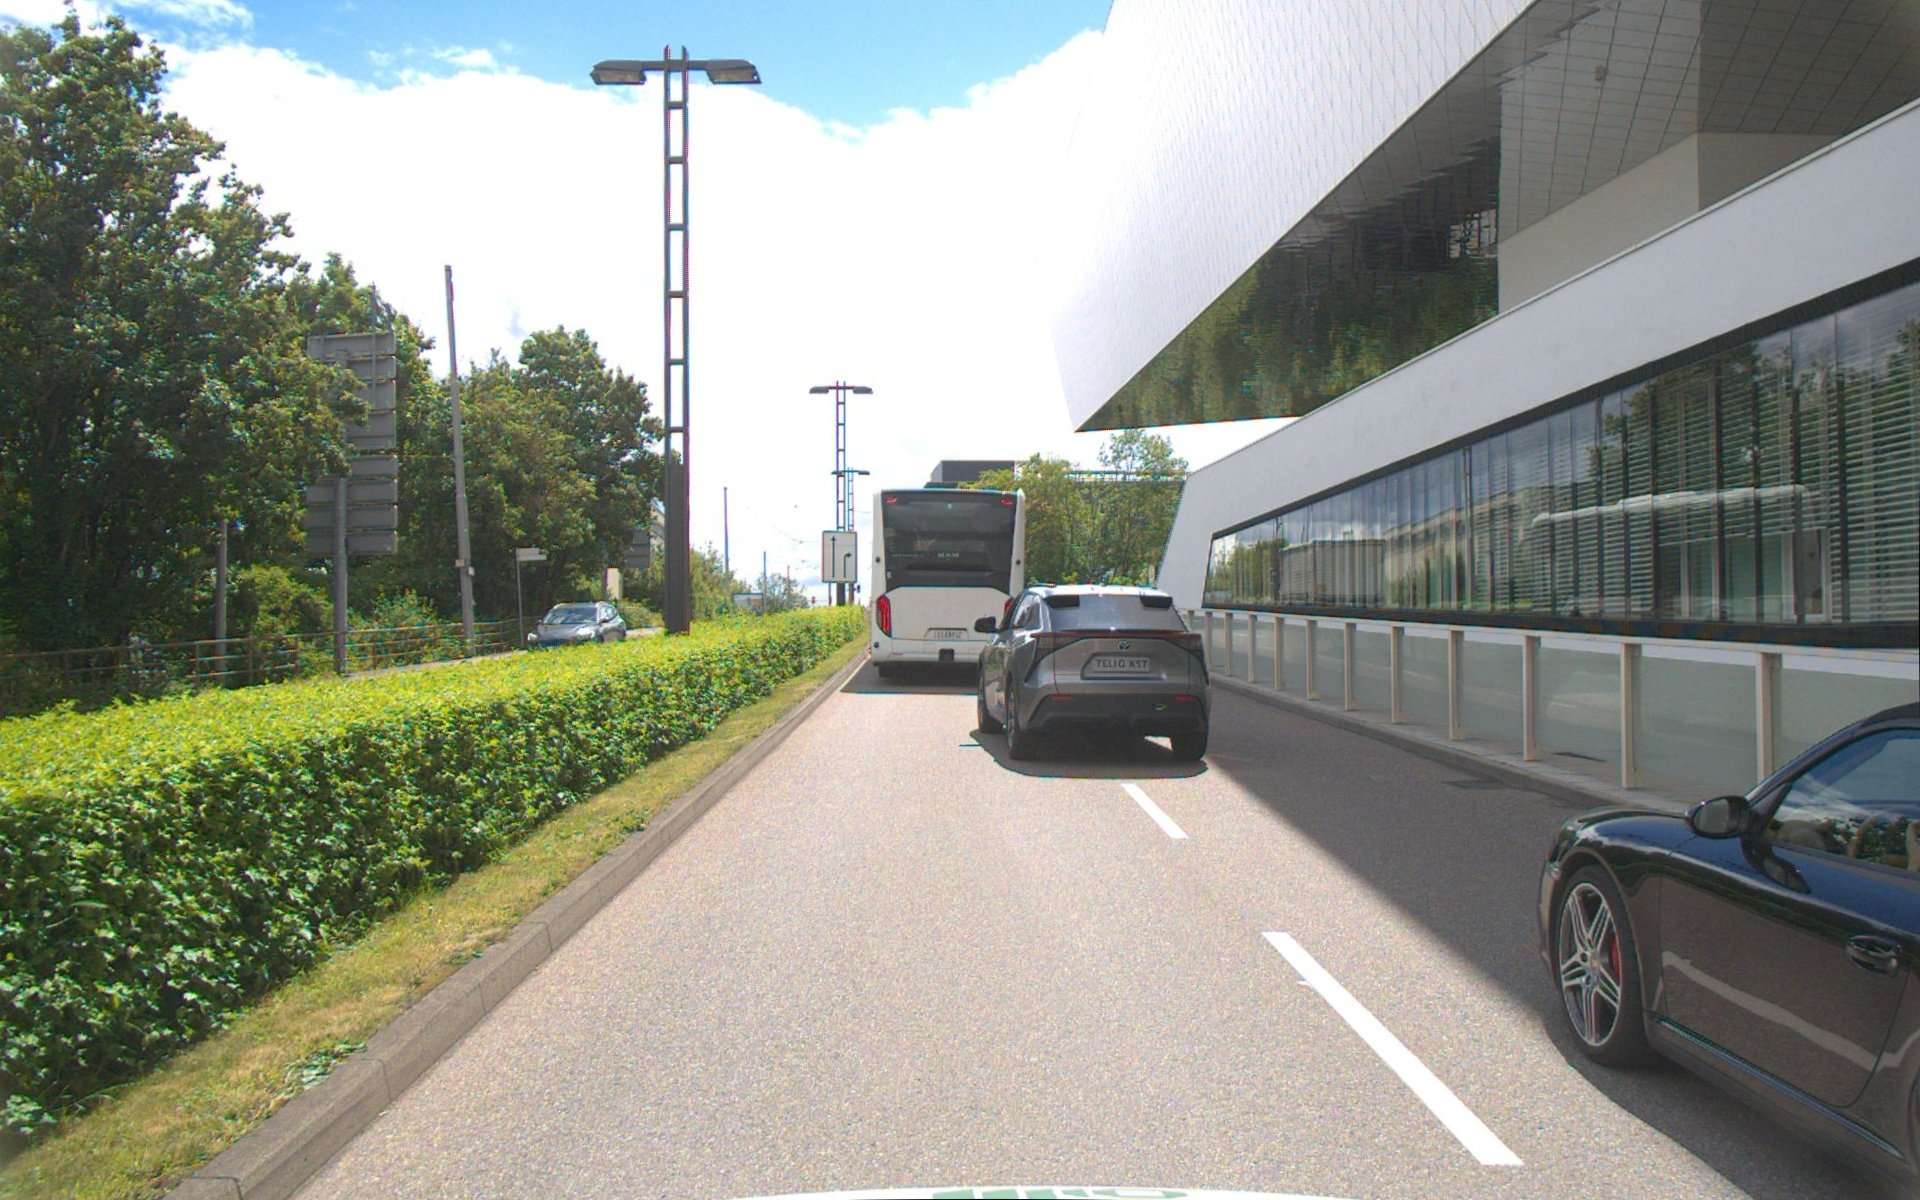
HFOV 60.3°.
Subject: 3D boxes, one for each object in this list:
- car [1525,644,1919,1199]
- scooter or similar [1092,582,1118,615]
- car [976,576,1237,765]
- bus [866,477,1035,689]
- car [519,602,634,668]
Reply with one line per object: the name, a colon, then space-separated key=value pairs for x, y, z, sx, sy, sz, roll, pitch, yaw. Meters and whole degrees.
car: x=2.998 y=0.809 z=4.162 sx=1.685 sy=1.297 sz=4.086 roll=0 pitch=0 yaw=-1
scooter or similar: x=5.591 y=-0.057 z=63.843 sx=0.640 sy=1.235 sz=1.856 roll=-1 pitch=0 yaw=-5
car: x=1.302 y=0.626 z=16.458 sx=1.843 sy=1.622 sz=4.224 roll=1 pitch=0 yaw=-5
bus: x=-0.214 y=-0.359 z=32.287 sx=2.634 sy=3.312 sz=12.056 roll=1 pitch=1 yaw=-1
car: x=-9.689 y=0.853 z=42.099 sx=1.802 sy=1.534 sz=4.561 roll=-1 pitch=0 yaw=0
